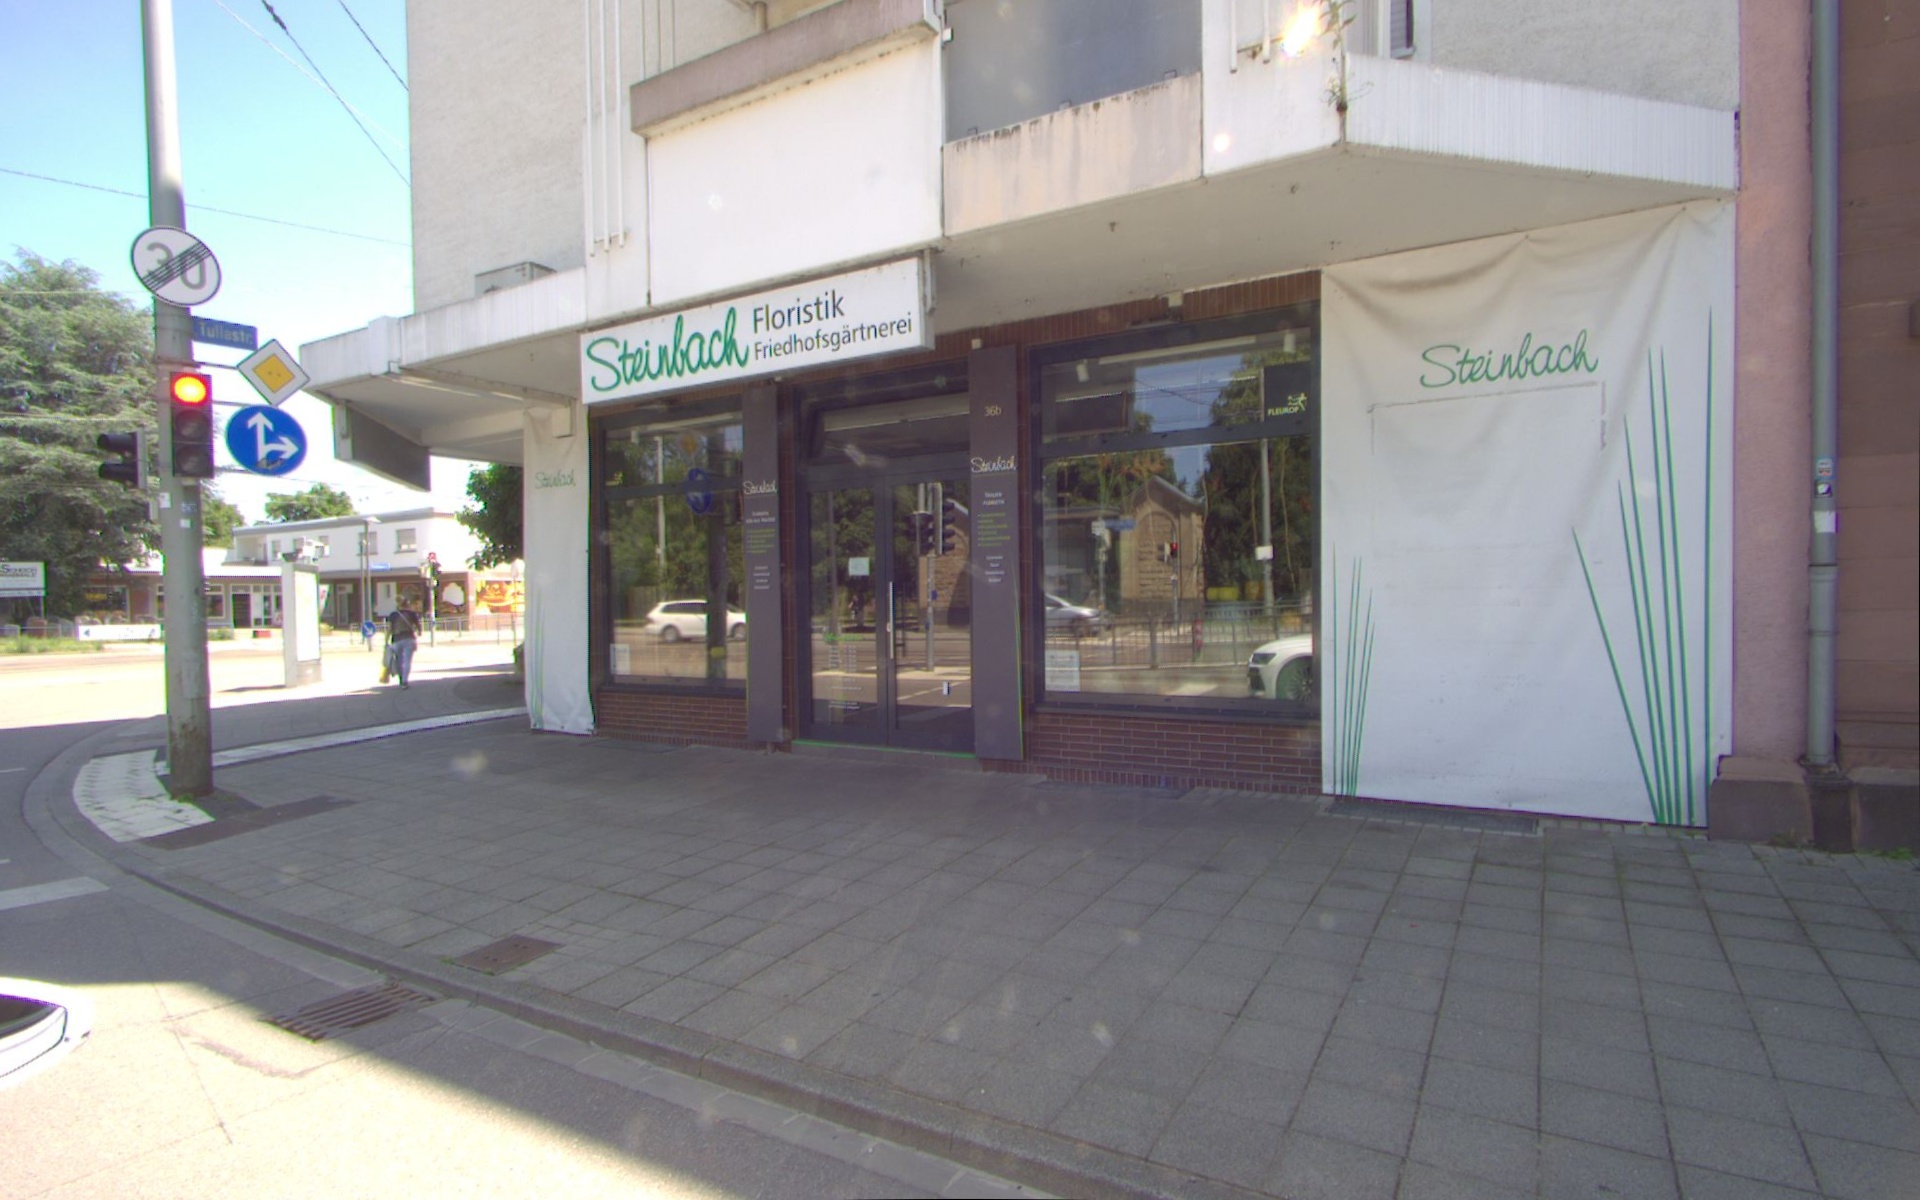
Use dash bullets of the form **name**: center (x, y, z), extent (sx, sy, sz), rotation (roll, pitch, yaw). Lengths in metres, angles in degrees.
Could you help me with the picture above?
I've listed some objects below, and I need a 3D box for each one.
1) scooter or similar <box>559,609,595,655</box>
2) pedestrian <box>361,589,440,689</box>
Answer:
- **scooter or similar**: center (-10.474, 0.864, 27.384), extent (0.387, 1.229, 1.255), rotation (-1, 0, 5)
- **pedestrian**: center (-9.599, 0.654, 17.180), extent (0.816, 1.606, 0.822), rotation (0, 4, 38)
